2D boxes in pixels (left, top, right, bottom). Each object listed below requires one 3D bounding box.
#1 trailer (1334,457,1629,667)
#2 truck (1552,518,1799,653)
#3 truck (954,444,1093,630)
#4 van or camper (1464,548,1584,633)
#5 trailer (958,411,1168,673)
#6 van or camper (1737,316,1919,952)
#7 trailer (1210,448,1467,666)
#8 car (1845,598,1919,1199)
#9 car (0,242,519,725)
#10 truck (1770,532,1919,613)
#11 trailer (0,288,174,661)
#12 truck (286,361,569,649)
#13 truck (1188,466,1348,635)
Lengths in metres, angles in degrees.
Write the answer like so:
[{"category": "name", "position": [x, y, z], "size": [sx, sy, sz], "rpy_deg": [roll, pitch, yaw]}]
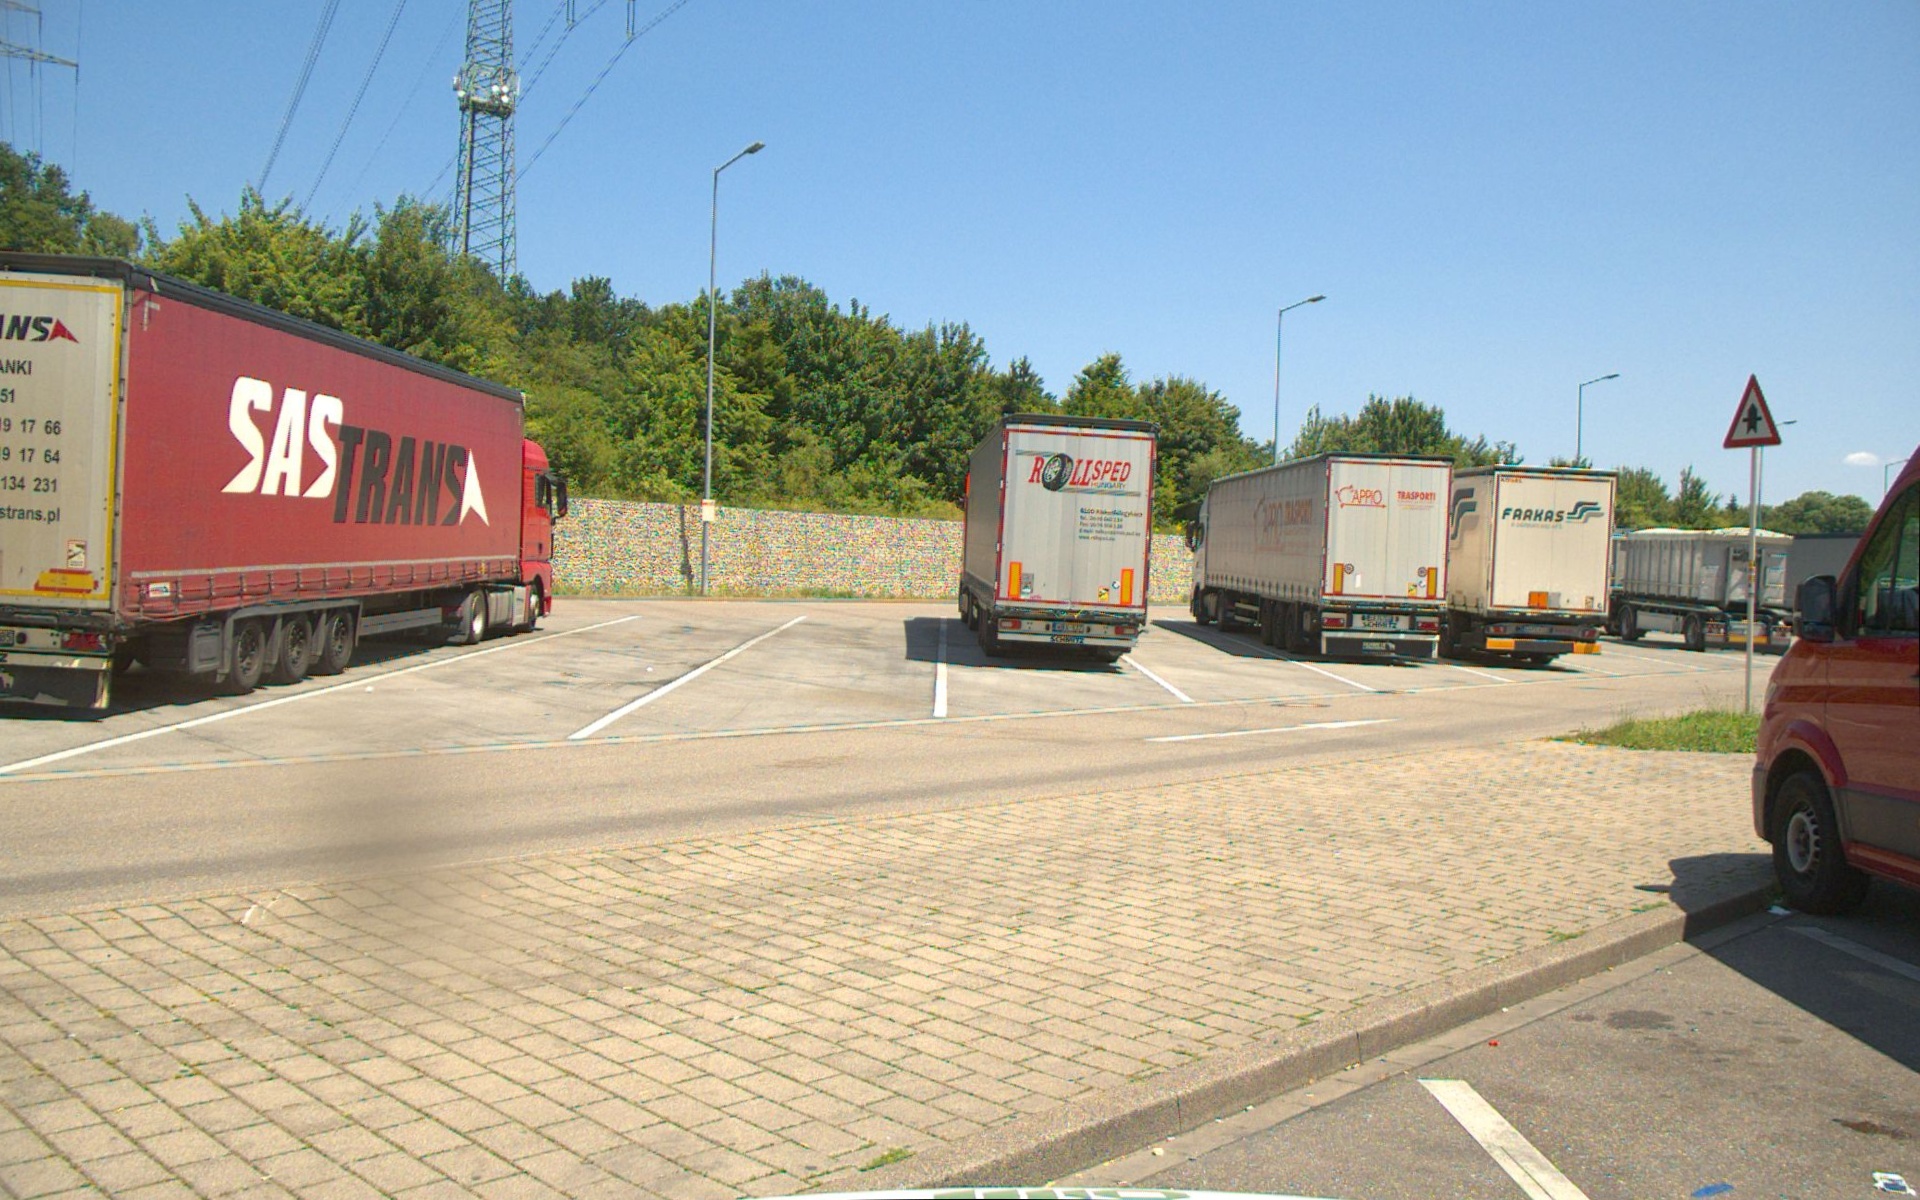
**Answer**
[{"category": "trailer", "position": [11.814, -1.017, 39.217], "size": [2.808, 4.107, 12.438], "rpy_deg": [2, 2, -1]}, {"category": "truck", "position": [21.740, -0.640, 51.237], "size": [2.437, 3.630, 11.423], "rpy_deg": [2, 2, -1]}, {"category": "truck", "position": [1.416, -1.563, 40.745], "size": [2.809, 4.107, 7.026], "rpy_deg": [2, 2, -2]}, {"category": "van or camper", "position": [18.287, -0.334, 53.888], "size": [2.061, 2.606, 5.372], "rpy_deg": [1, 1, 0]}, {"category": "trailer", "position": [1.645, -1.236, 33.664], "size": [2.809, 4.107, 14.238], "rpy_deg": [2, 2, -2]}, {"category": "van or camper", "position": [4.979, 0.179, 5.554], "size": [1.954, 2.700, 6.482], "rpy_deg": [1, 1, 3]}, {"category": "trailer", "position": [8.237, -1.084, 38.099], "size": [2.808, 4.107, 12.438], "rpy_deg": [2, 2, -1]}, {"category": "car", "position": [2.529, 0.799, 1.107], "size": [1.584, 1.509, 3.762], "rpy_deg": [1, 1, -6]}, {"category": "car", "position": [-8.685, -1.280, 20.956], "size": [2.641, 4.184, 12.935], "rpy_deg": [2, 2, 0]}, {"category": "truck", "position": [34.695, -1.055, 63.629], "size": [2.082, 2.869, 9.777], "rpy_deg": [1, 1, -1]}, {"category": "trailer", "position": [-12.556, -1.406, 17.157], "size": [2.756, 4.341, 12.940], "rpy_deg": [2, 2, -1]}, {"category": "truck", "position": [-8.706, -1.529, 27.873], "size": [2.641, 4.184, 6.239], "rpy_deg": [2, 2, 0]}, {"category": "truck", "position": [8.158, -1.380, 44.730], "size": [2.808, 4.107, 6.956], "rpy_deg": [2, 2, -1]}]
